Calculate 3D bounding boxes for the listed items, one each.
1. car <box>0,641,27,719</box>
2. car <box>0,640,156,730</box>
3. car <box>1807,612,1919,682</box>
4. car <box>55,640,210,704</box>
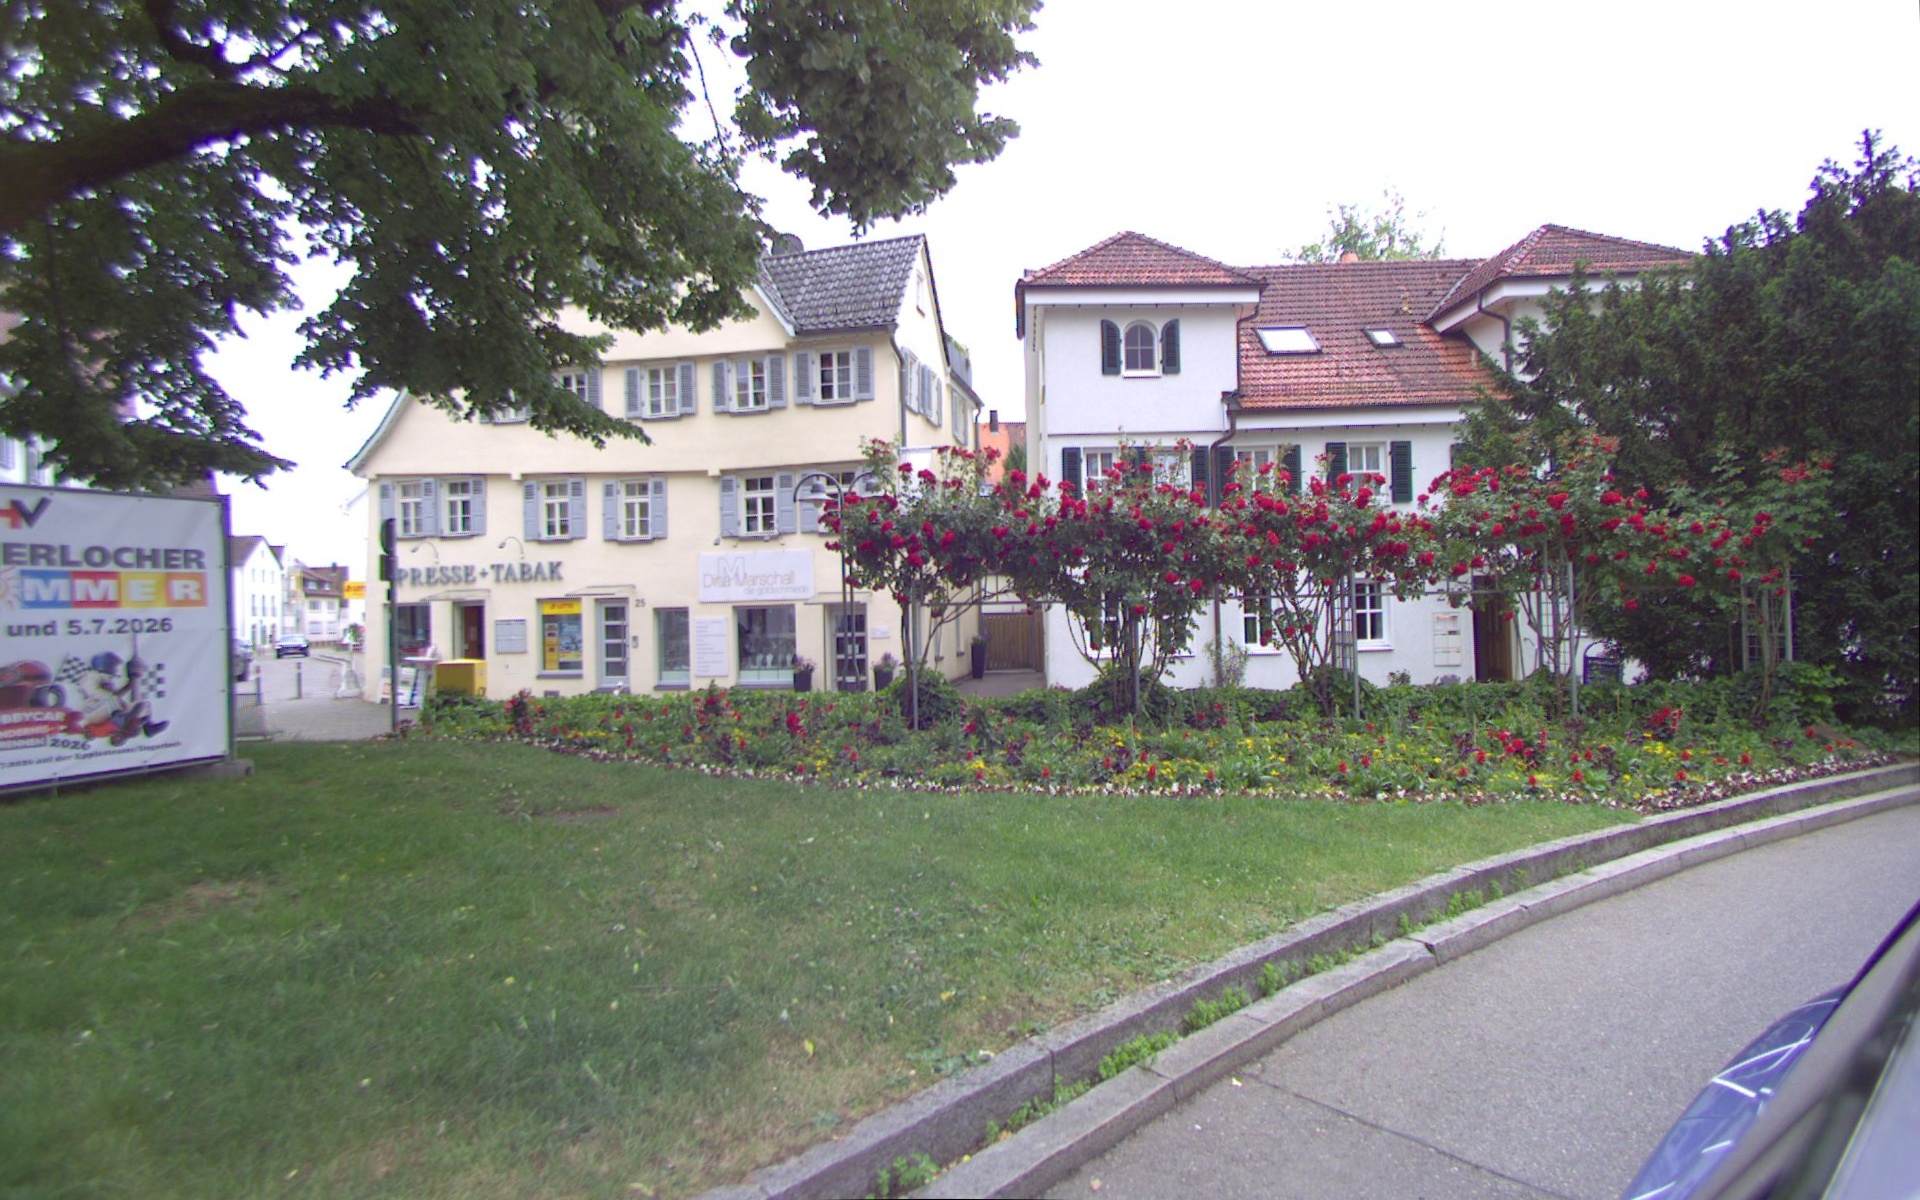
[{"bbox_3d":[-20.181,1.628,19.023,2.079,1.567,4.391,0,-1,-15],"label":"car"},{"bbox_3d":[-18.015,1.611,20.163,1.746,1.535,4.015,0,-1,-17],"label":"car"},{"bbox_3d":[20.657,0.966,21.367,1.858,1.437,3.811,0,-1,-22],"label":"car"},{"bbox_3d":[-23.024,1.938,28.400,2.210,1.530,4.530,0,-1,-24],"label":"car"}]
